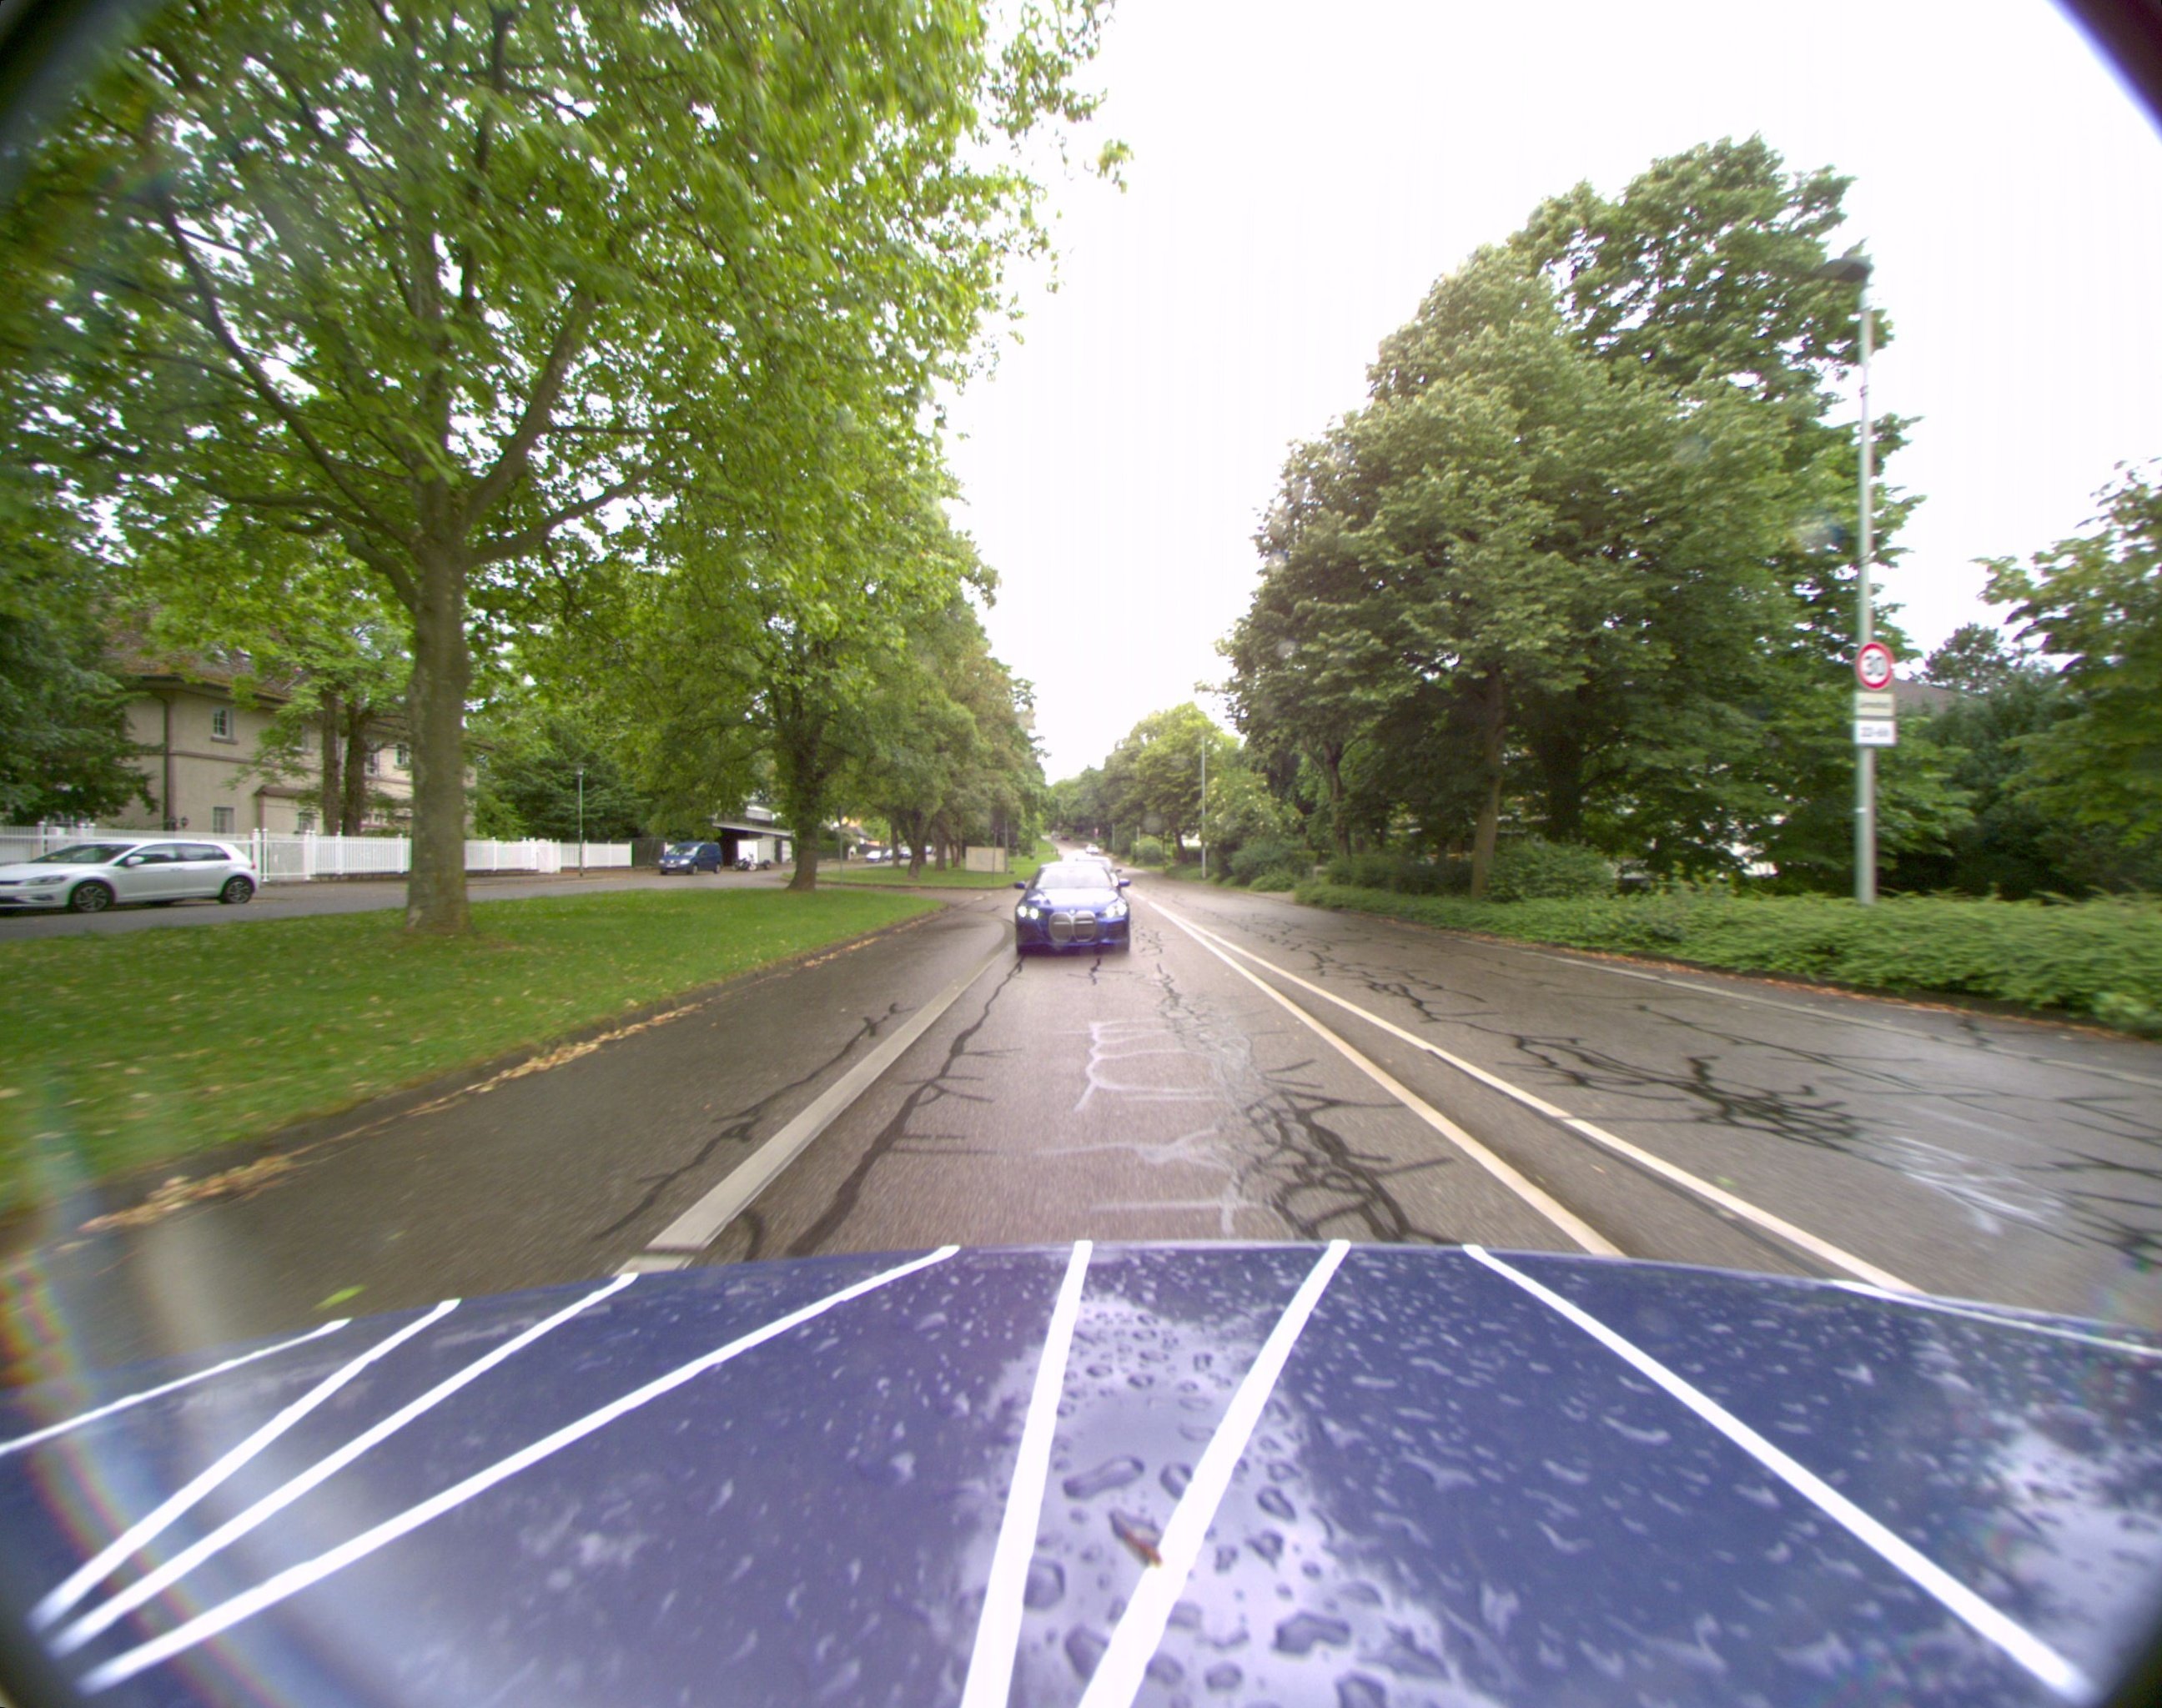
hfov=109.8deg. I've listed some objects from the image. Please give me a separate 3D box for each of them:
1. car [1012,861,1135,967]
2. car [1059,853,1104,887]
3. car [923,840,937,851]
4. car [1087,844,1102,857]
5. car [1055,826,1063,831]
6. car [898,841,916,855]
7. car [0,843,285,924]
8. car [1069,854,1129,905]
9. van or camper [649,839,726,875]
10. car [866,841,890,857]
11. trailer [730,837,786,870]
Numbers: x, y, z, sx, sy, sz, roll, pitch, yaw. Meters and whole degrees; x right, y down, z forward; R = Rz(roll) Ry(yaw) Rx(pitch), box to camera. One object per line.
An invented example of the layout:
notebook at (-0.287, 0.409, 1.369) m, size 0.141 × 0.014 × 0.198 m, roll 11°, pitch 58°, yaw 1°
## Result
car at (-0.148, 0.927, 13.549) m, size 1.826 × 1.471 × 4.066 m, roll -2°, pitch 1°, yaw -1°
car at (-0.017, 0.718, 36.547) m, size 2.032 × 1.471 × 4.066 m, roll -2°, pitch 1°, yaw -1°
car at (-27.996, -1.546, 141.279) m, size 1.999 × 2.002 × 3.998 m, roll 1°, pitch 1°, yaw -3°
car at (2.232, -0.532, 123.680) m, size 1.999 × 2.001 × 4.572 m, roll 0°, pitch -1°, yaw -5°
car at (-5.825, -6.907, 205.226) m, size 1.825 × 1.471 × 4.067 m, roll 0°, pitch 1°, yaw 2°
car at (-26.908, -0.947, 117.340) m, size 1.999 × 2.001 × 3.999 m, roll 1°, pitch -1°, yaw -3°
car at (-19.698, 0.531, 15.824) m, size 1.999 × 1.440 × 4.122 m, roll -2°, pitch 1°, yaw -4°
car at (0.522, 0.793, 25.730) m, size 1.826 × 1.471 × 4.066 m, roll -2°, pitch 1°, yaw -1°
van or camper at (-21.342, 0.113, 41.478) m, size 1.999 × 1.798 × 4.773 m, roll -2°, pitch 1°, yaw -5°
car at (-24.898, -0.612, 93.328) m, size 1.999 × 2.002 × 3.999 m, roll 1°, pitch 1°, yaw -1°
trailer at (-21.787, -0.062, 51.485) m, size 1.771 × 2.104 × 5.191 m, roll -2°, pitch 1°, yaw -3°
